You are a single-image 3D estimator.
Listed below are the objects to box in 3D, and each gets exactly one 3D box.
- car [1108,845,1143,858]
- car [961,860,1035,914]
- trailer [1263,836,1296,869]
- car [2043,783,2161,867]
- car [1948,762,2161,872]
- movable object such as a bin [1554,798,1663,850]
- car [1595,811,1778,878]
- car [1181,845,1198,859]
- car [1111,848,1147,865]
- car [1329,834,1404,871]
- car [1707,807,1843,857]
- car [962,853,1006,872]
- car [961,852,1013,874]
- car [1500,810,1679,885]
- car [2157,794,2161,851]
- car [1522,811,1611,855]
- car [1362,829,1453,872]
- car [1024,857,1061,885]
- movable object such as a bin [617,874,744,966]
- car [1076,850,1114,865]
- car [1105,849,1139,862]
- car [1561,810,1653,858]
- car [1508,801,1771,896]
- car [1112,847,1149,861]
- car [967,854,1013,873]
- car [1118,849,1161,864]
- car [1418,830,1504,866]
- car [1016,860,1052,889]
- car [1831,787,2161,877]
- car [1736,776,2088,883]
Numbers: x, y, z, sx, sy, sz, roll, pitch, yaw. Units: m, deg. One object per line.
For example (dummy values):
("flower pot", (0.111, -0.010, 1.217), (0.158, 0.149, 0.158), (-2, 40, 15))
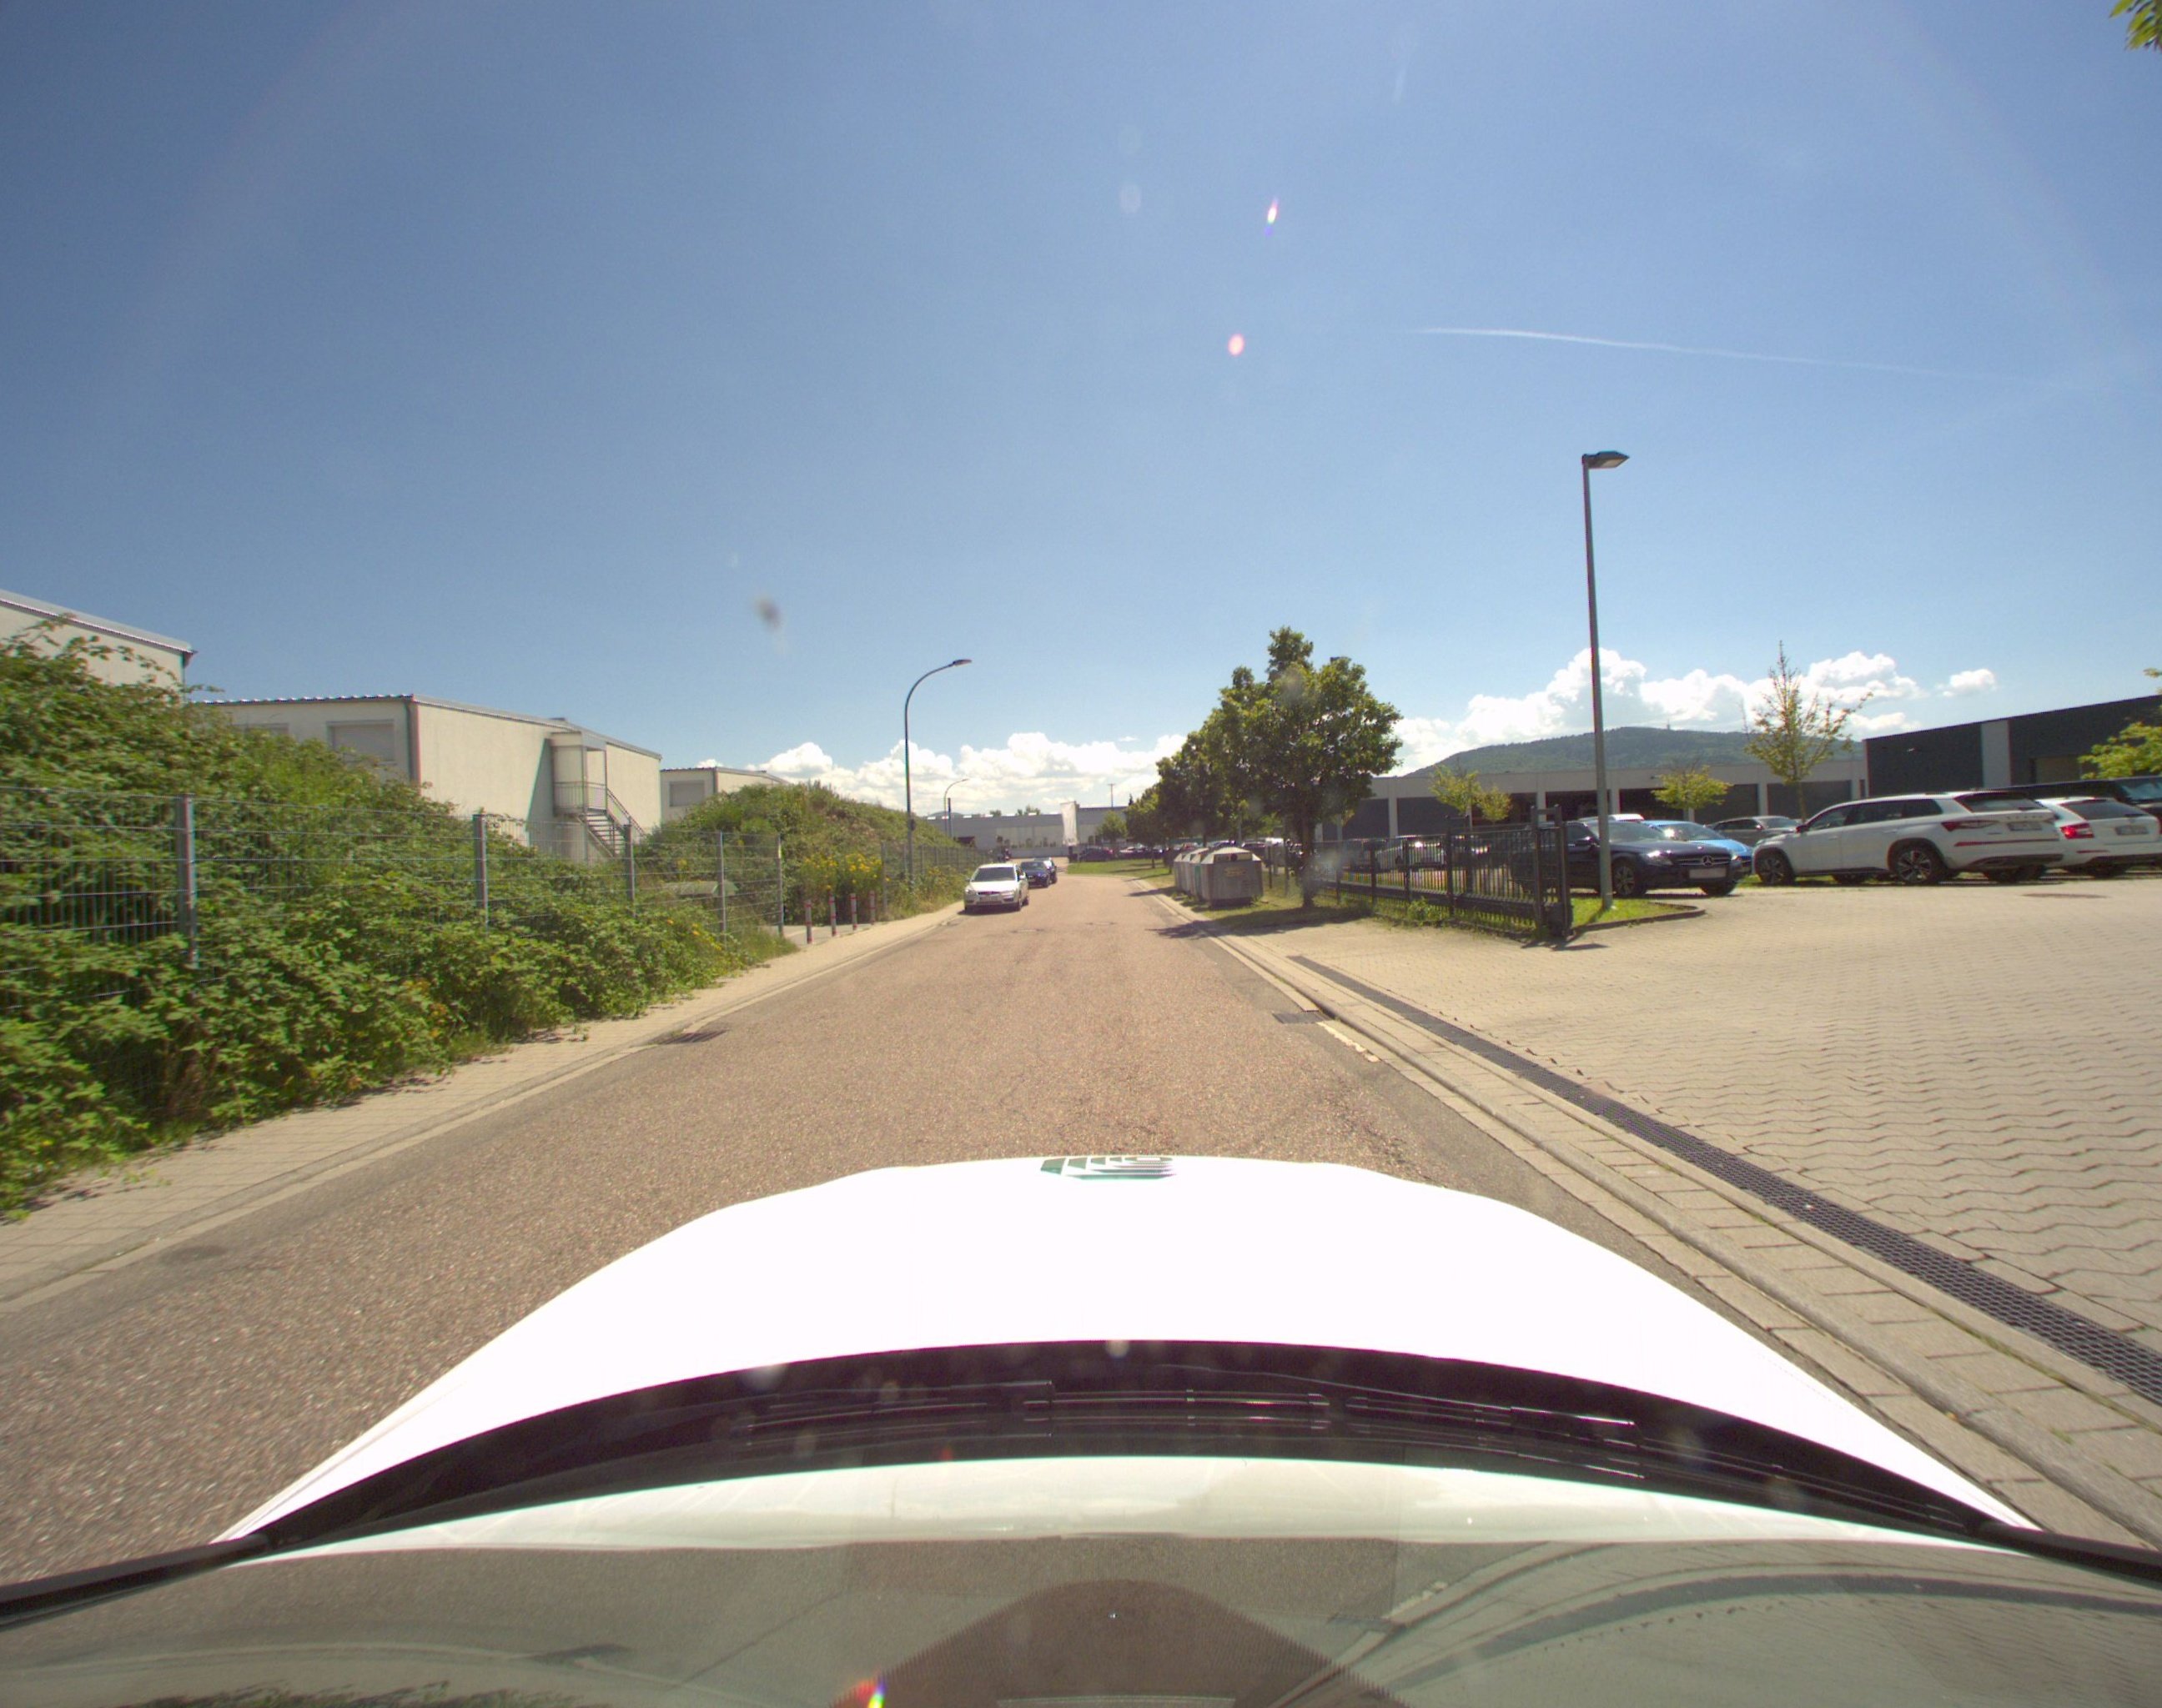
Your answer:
("car", (5.270, -0.300, 96.781), (3.975, 1.398, 1.999), (-2, -2, -1))
("car", (-2.654, 1.027, 27.031), (1.827, 1.546, 4.368), (-3, 0, 1))
("trailer", (12.957, -0.128, 53.309), (1.487, 2.006, 3.267), (-3, 2, 3))
("car", (22.532, -0.649, 15.950), (1.906, 1.623, 4.513), (-2, -2, -1))
("car", (20.106, -0.670, 15.661), (1.906, 1.900, 4.513), (-2, -2, -1))
("movable object such as a bin", (44.782, -2.431, 69.563), (3.529, 3.974, 8.665), (-2, 0, 0))
("car", (15.297, -0.273, 20.873), (1.641, 1.492, 4.021), (-2, 2, -1))
("car", (15.705, -0.308, 118.273), (1.986, 1.827, 4.000), (-2, -2, 1))
("car", (5.531, 0.312, 94.216), (3.975, 1.827, 1.999), (-2, -2, -1))
("car", (12.902, -0.120, 37.057), (1.784, 1.531, 4.420), (-2, 1, -1))
("car", (27.389, -0.813, 32.345), (1.784, 1.682, 4.097), (-2, -2, -1))
("car", (-10.742, 0.924, 90.442), (4.571, 1.922, 2.000), (-2, 0, 0))
("car", (-10.091, 0.939, 87.863), (5.300, 2.097, 2.000), (-2, 0, 0))
("car", (12.587, -0.202, 20.503), (1.784, 1.623, 4.240), (-2, 2, -1))
("car", (25.255, -0.690, 16.097), (1.906, 1.533, 4.513), (-2, -2, -1))
("car", (29.903, -1.229, 50.375), (1.875, 2.263, 5.651), (-2, -3, -2))
("car", (12.657, -0.084, 31.864), (1.784, 1.433, 4.140), (-2, -2, -1))
("car", (-2.276, 0.975, 49.342), (1.827, 1.546, 4.266), (-3, 0, 1))
("movable object such as a bin", (-7.130, 1.138, 14.652), (1.298, 1.477, 1.839), (-2, -1, 1))
("car", (1.487, 0.406, 86.447), (3.975, 1.398, 1.999), (-2, -2, -1))
("car", (5.036, 0.223, 100.055), (3.975, 1.398, 1.999), (-2, -2, -1))
("car", (32.646, -1.171, 50.792), (1.875, 2.478, 5.500), (-2, -3, -2))
("car", (10.101, -0.013, 15.239), (1.784, 1.455, 4.407), (-2, -2, -1))
("car", (5.532, 0.022, 90.849), (3.975, 1.398, 1.999), (-2, -2, -1))
("car", (-10.388, 1.039, 93.053), (4.867, 1.922, 2.000), (-2, 0, 0))
("car", (6.159, 0.246, 86.280), (4.425, 1.398, 1.999), (-2, -2, -1))
("car", (17.309, -0.331, 37.361), (1.784, 1.481, 4.420), (-2, 1, -1))
("car", (-2.508, 1.054, 44.183), (1.651, 1.417, 4.144), (-3, 0, -1))
("car", (17.771, -0.313, 15.919), (1.834, 1.433, 4.647), (-2, -2, -1))
("car", (15.353, -0.319, 15.533), (1.834, 1.654, 4.647), (-2, -2, -1))
